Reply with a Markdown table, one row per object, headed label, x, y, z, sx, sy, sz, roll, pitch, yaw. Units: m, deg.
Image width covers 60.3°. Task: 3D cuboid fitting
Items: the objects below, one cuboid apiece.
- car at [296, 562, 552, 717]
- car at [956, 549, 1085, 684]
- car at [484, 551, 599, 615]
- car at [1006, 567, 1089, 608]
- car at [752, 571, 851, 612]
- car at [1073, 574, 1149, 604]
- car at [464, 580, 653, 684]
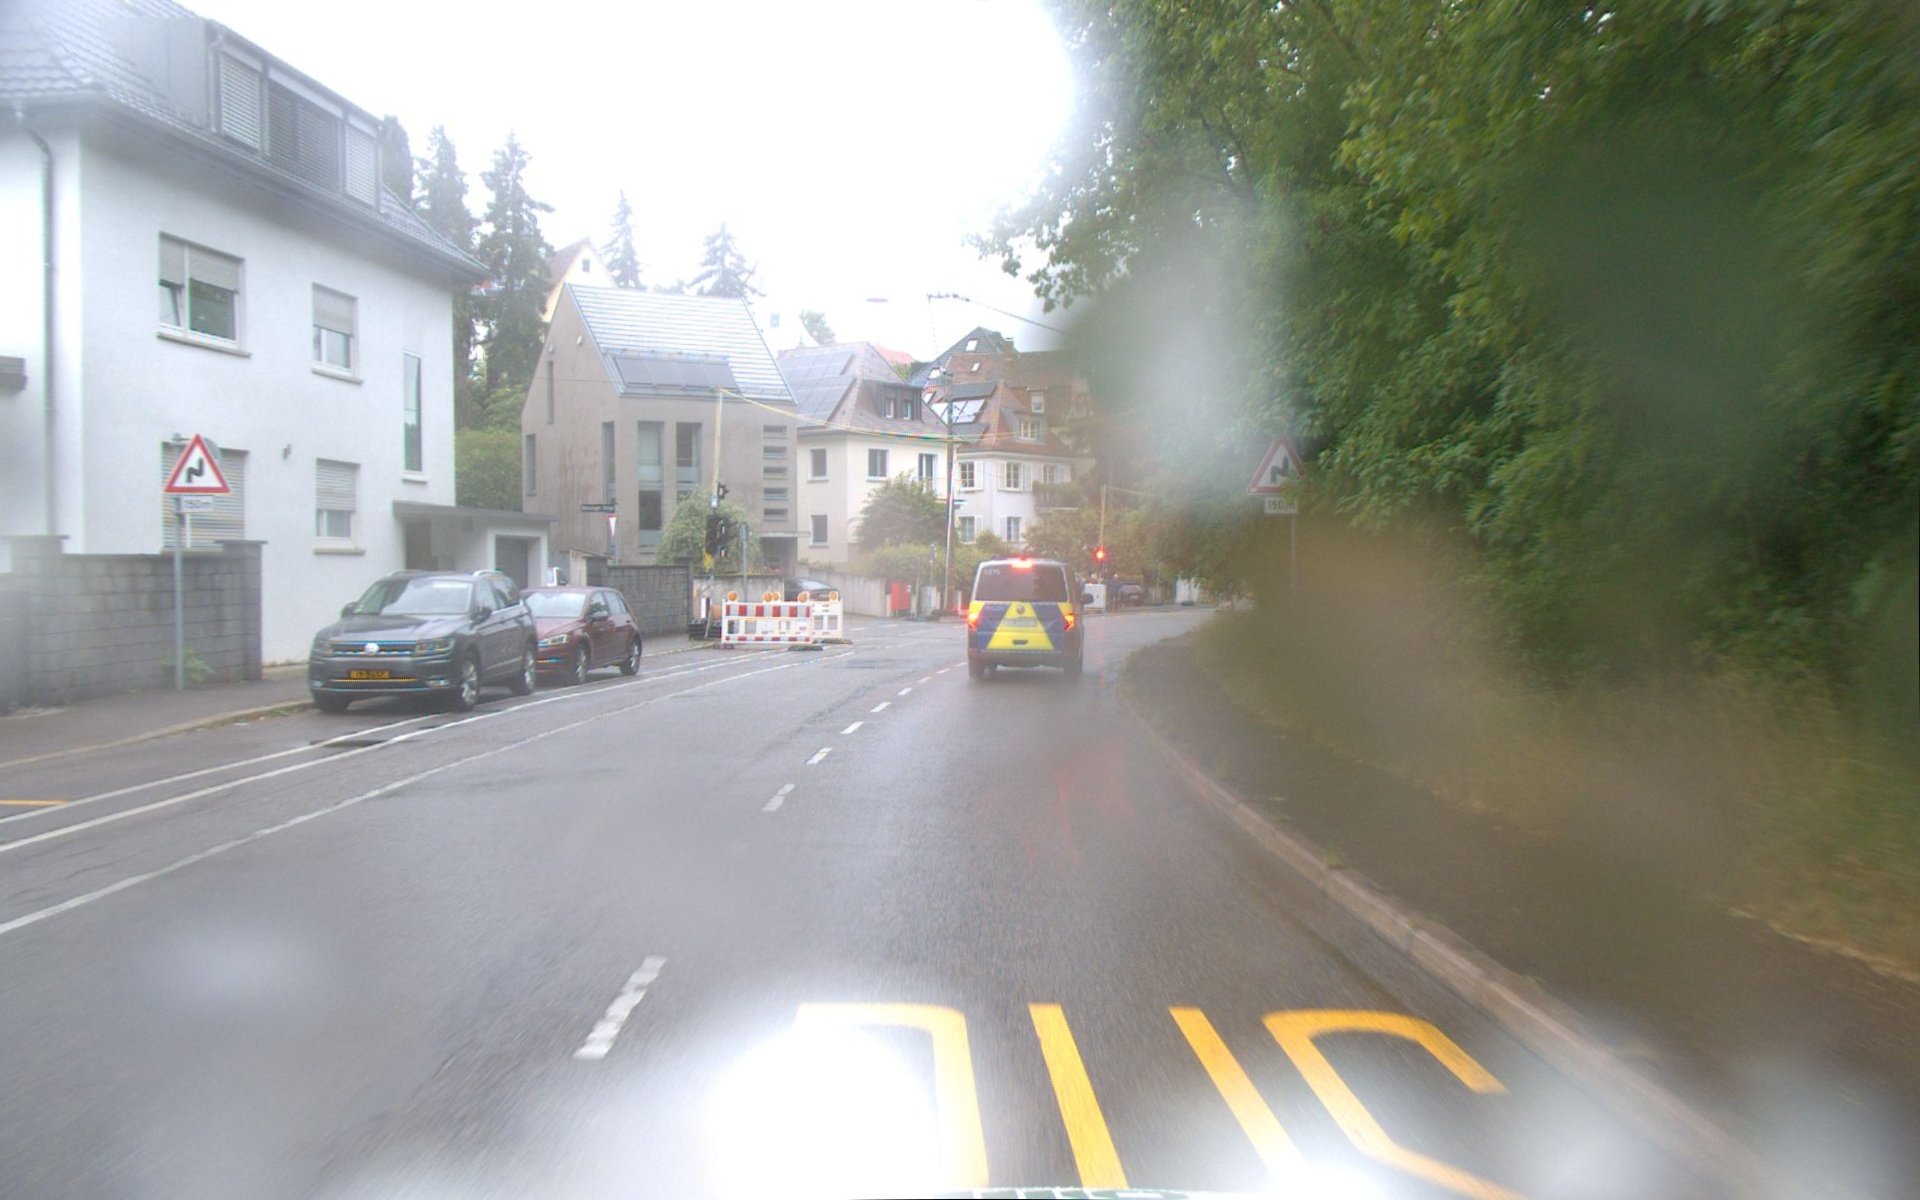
| label | x | y | z | sx | sy | sz | roll | pitch | yaw |
| --- | --- | --- | --- | --- | --- | --- | --- | --- | --- |
| car | -6.562 | 0.403 | 20.766 | 1.718 | 1.687 | 4.405 | -1 | 1 | 0 |
| car | 1.053 | 0.194 | 28.488 | 1.952 | 2.048 | 4.404 | -3 | 2 | 3 |
| car | -10.164 | -0.410 | 40.417 | 1.739 | 1.489 | 3.618 | 0 | 1 | 2 |
| car | 4.526 | -0.670 | 85.637 | 3.912 | 2.049 | 1.827 | 1 | 1 | 29 |
| car | -5.992 | -0.341 | 62.137 | 1.822 | 1.469 | 3.944 | 0 | 2 | -39 |
| car | 8.608 | -0.625 | 94.412 | 3.911 | 1.512 | 1.757 | 2 | -1 | 28 |
| car | -6.253 | 0.445 | 26.222 | 1.582 | 1.465 | 4.233 | 0 | 1 | 6 |
